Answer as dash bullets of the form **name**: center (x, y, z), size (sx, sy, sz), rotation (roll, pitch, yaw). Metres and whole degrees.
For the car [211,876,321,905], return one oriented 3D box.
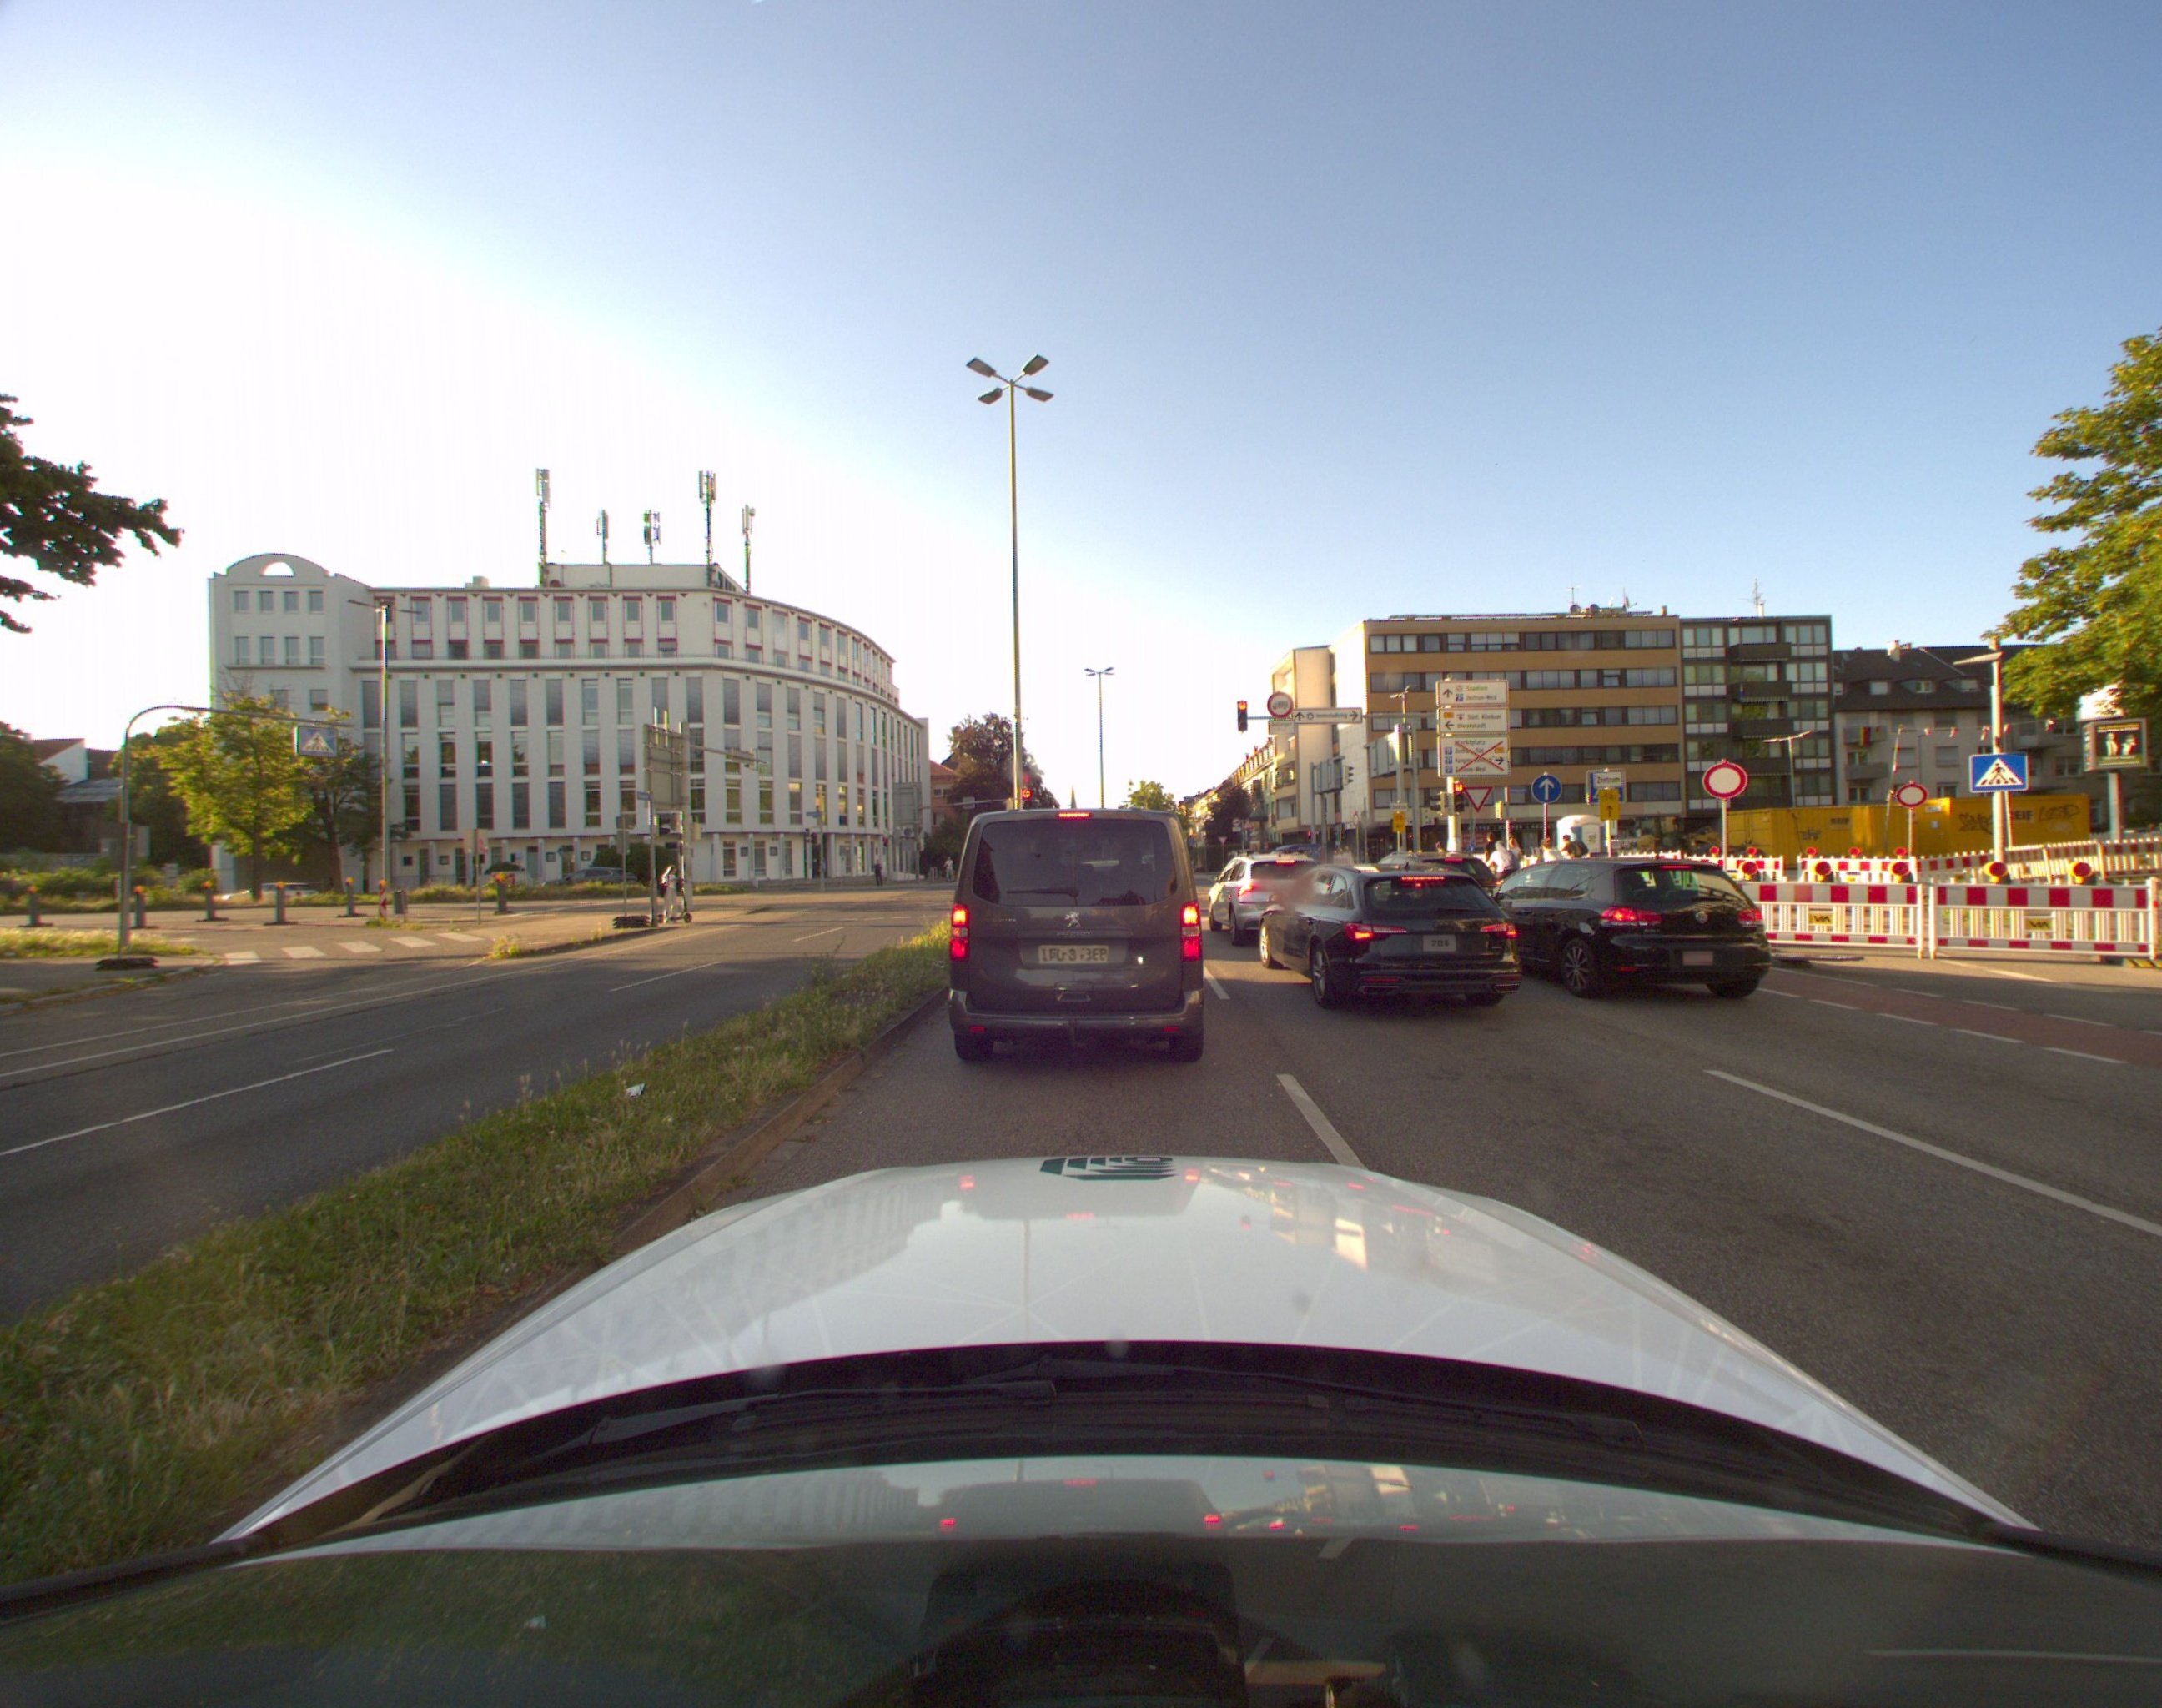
- **car**: center (-44.110, 1.959, 44.150), size (3.979, 1.420, 1.785), rotation (-2, 0, -4)

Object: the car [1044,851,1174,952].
- **car**: center (0.502, 0.744, 14.745), size (1.986, 1.530, 4.002), rotation (-2, 0, 2)

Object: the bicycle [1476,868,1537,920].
- **bicycle**: center (8.912, 0.809, 17.110), size (0.335, 1.008, 1.856), rotation (-2, 0, 2)

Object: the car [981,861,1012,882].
- **car**: center (-6.481, 1.328, 62.860), size (1.850, 1.420, 4.000), rotation (-2, 0, 0)

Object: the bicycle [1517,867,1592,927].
- **bicycle**: center (8.664, 0.752, 14.976), size (0.335, 1.008, 1.856), rotation (-2, 0, 2)

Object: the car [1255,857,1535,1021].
- **car**: center (3.200, 0.757, 9.258), size (1.675, 1.421, 4.215), rotation (0, 0, 2)

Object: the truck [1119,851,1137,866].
- **truck**: center (6.974, 0.586, 120.224), size (2.116, 2.087, 4.641), rotation (-2, 0, 8)

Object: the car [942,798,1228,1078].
- **car**: center (0.094, 0.567, 7.701), size (1.900, 1.863, 4.528), rotation (0, 0, 2)

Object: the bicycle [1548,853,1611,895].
- **bicycle**: center (14.200, 0.549, 23.212), size (1.480, 1.161, 0.376), rotation (0, 1, 39)

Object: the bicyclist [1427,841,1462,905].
- **bicyclist**: center (8.977, 0.458, 20.131), size (0.511, 1.525, 0.725), rotation (-2, 0, 1)

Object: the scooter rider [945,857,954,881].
- **scooter rider**: center (-9.463, 1.107, 58.763), size (0.479, 1.697, 0.636), rotation (-2, 0, 1)

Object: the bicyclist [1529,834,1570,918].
- **bicyclist**: center (8.643, 0.399, 15.042), size (0.439, 1.525, 0.482), rotation (-2, 0, 1)

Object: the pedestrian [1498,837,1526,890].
- **pedestrian**: center (13.896, 0.300, 26.260), size (0.603, 1.671, 0.452), rotation (-2, 0, -15)

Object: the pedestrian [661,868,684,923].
- **pedestrian**: center (-11.527, 1.166, 22.976), size (0.474, 1.505, 0.334), rotation (-2, 0, -10)

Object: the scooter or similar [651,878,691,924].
- **scooter or similar**: center (-11.475, 1.304, 22.815), size (0.893, 1.234, 0.370), rotation (-2, 0, -10)

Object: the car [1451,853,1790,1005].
- **car**: center (5.997, 0.717, 9.646), size (1.627, 1.449, 3.746), rotation (0, 0, 2)

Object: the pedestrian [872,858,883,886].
- **pedestrian**: center (-12.818, 1.153, 51.378), size (0.626, 1.722, 0.668), rotation (-2, 0, -12)

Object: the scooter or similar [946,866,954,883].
- **scooter or similar**: center (-9.459, 1.461, 58.806), size (0.284, 1.189, 1.169), rotation (-2, 0, 2)

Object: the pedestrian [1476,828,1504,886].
- **pedestrian**: center (13.209, 0.104, 26.315), size (0.569, 1.834, 0.486), rotation (-2, 0, -6)

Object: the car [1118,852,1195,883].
- **car**: center (3.943, 0.692, 42.409), size (3.700, 1.387, 1.679), rotation (-3, 0, -33)

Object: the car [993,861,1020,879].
- **car**: center (-6.201, 1.315, 68.432), size (1.850, 1.420, 4.000), rotation (-2, 0, 0)

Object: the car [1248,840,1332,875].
- **car**: center (11.870, 0.181, 46.397), size (4.229, 1.817, 1.987), rotation (-2, 0, -20)

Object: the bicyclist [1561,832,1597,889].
- **bicyclist**: center (14.195, 0.177, 23.212), size (0.804, 1.589, 0.624), rotation (0, 1, 38)

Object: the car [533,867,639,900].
- **car**: center (-25.643, 1.518, 42.305), size (4.330, 1.549, 1.785), rotation (-2, 0, -4)

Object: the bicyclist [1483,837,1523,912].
- **bicyclist**: center (8.911, 0.424, 17.195), size (0.439, 1.525, 0.725), rotation (-2, 0, 2)

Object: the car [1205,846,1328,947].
- **car**: center (3.261, 0.689, 14.952), size (1.523, 1.613, 3.746), rotation (0, 0, 2)

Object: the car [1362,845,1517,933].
- **car**: center (6.593, 0.589, 15.330), size (1.499, 1.449, 3.306), rotation (-2, 0, 2)
